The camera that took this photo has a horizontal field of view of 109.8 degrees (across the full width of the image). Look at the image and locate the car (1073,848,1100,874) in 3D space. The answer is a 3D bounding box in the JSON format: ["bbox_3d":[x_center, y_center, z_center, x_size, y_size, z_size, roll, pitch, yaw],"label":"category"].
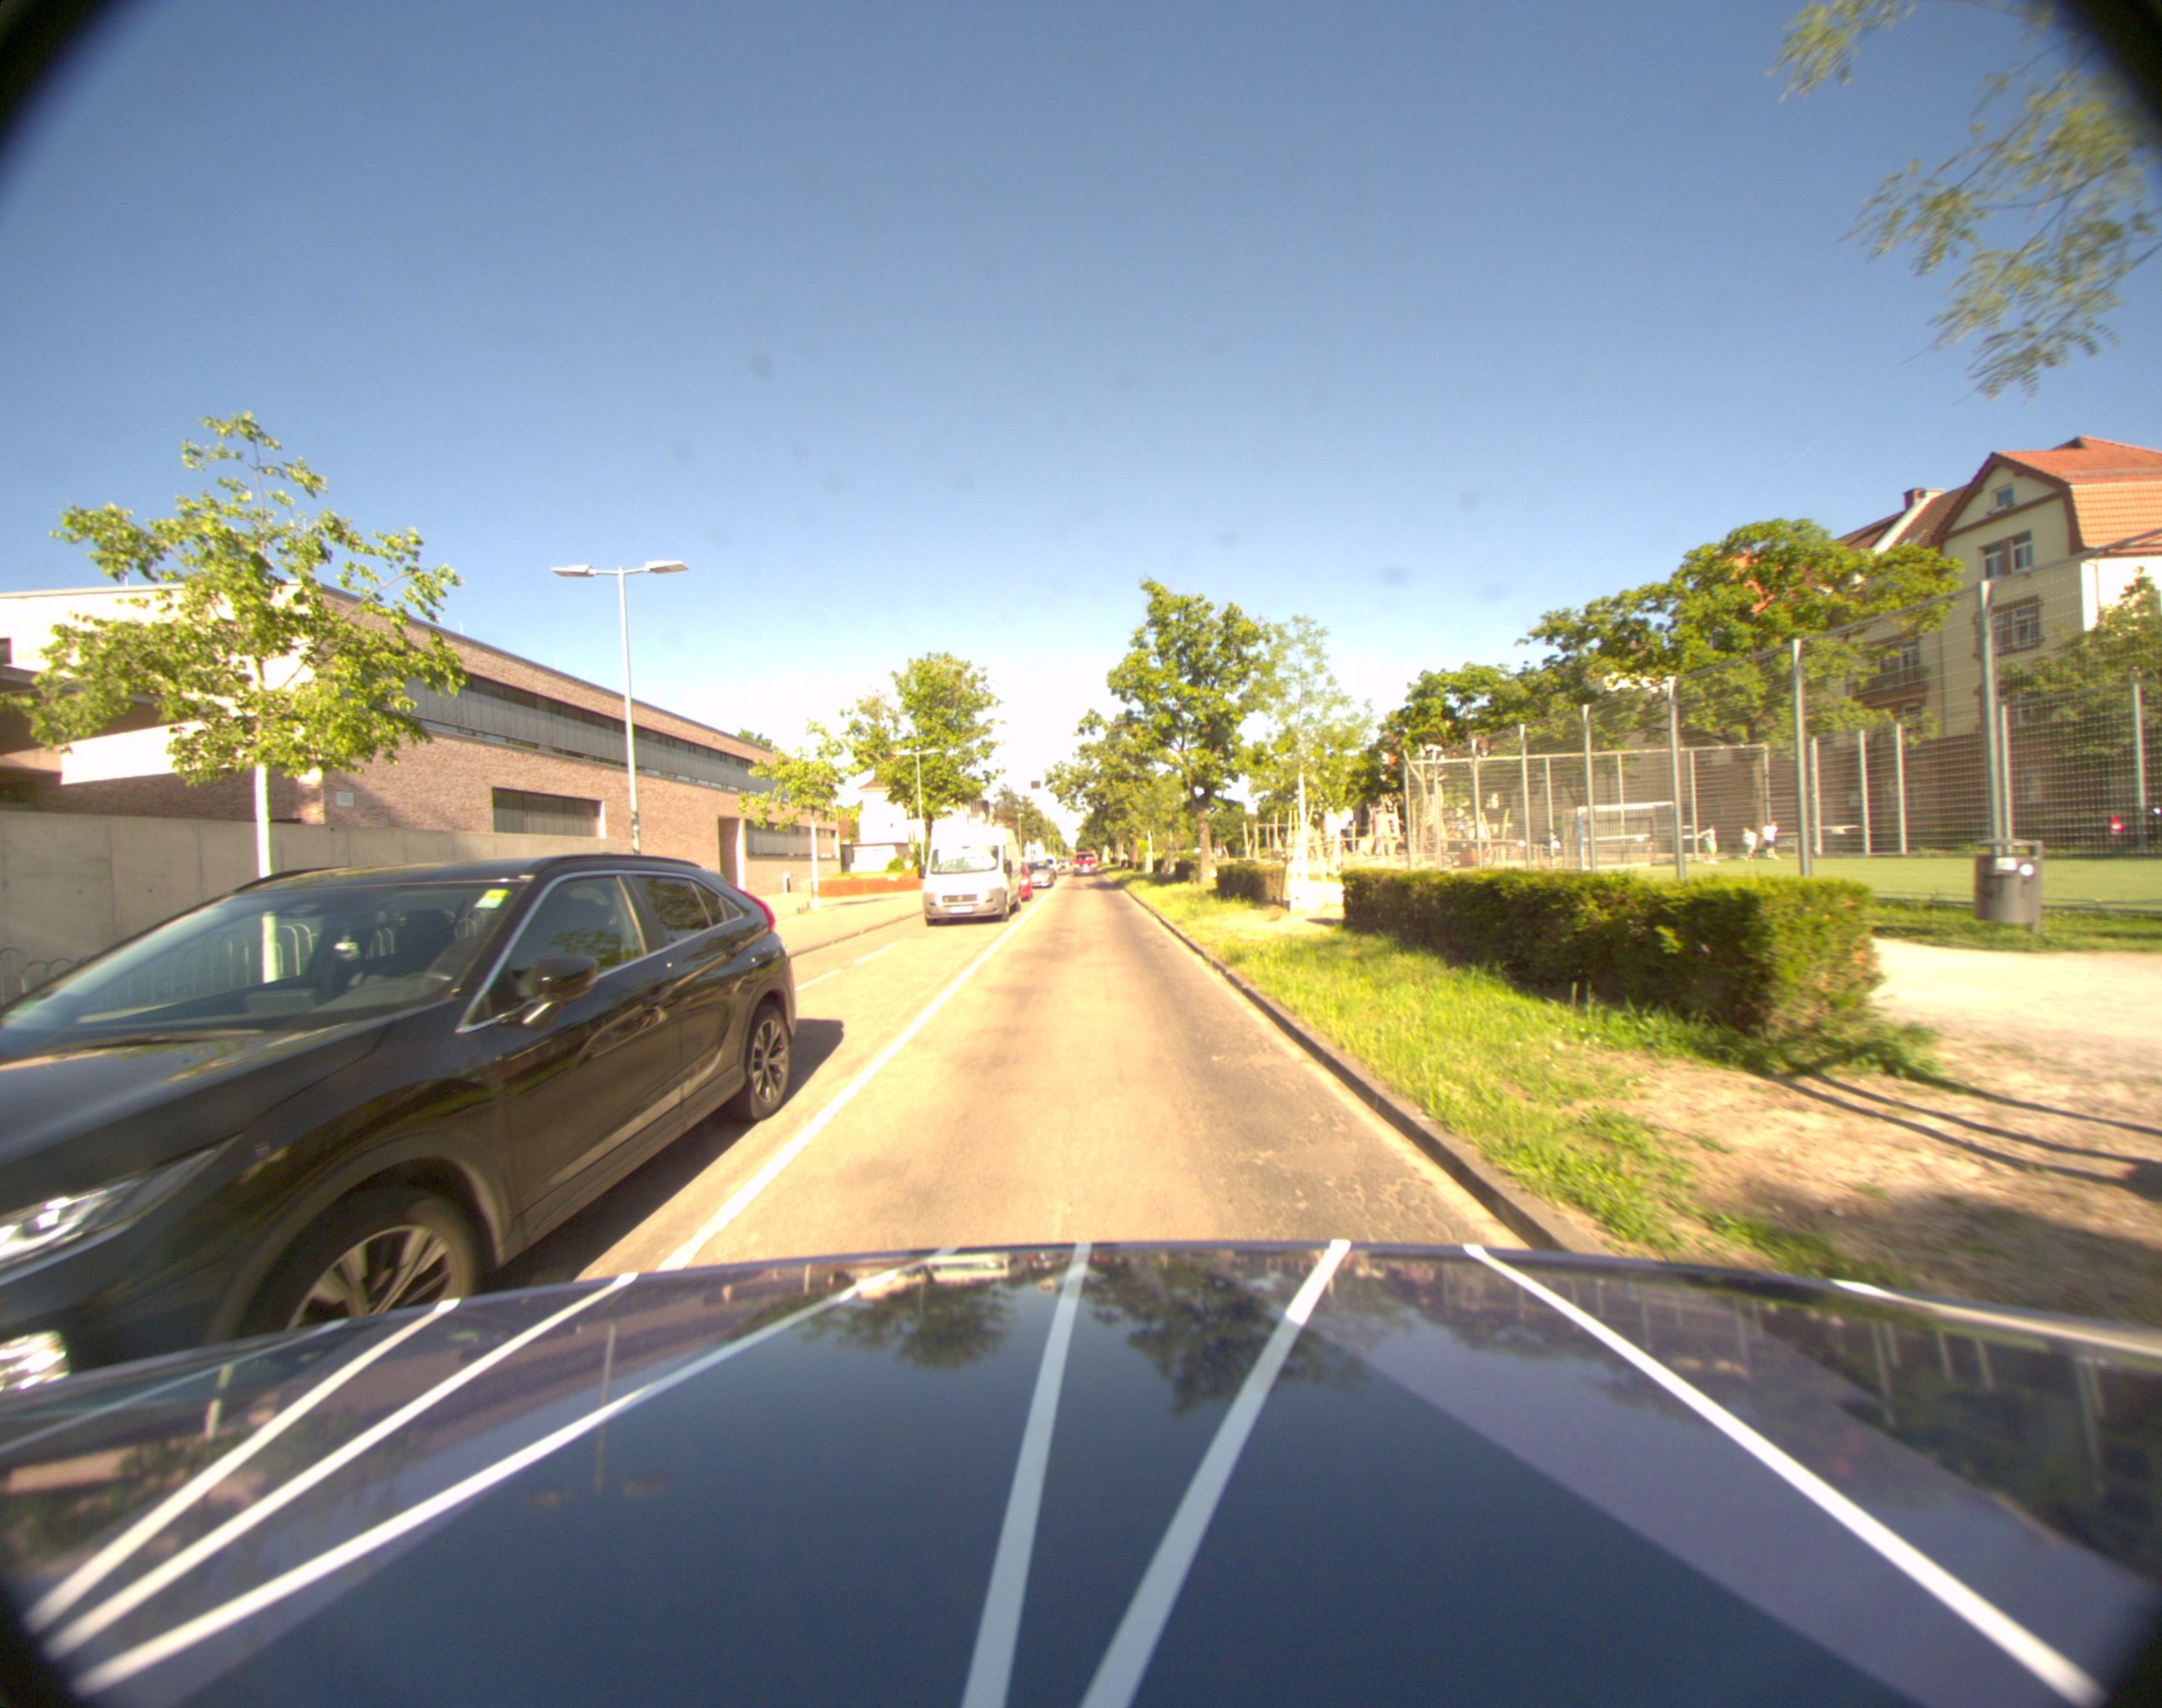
[{"bbox_3d":[0.484,0.551,63.524,2.092,2.000,4.844,-2,0,0],"label":"car"}]

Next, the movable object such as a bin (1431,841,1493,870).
[{"bbox_3d":[17.544,0.091,35.010,2.337,1.234,1.056,-2,0,-3],"label":"movable object such as a bin"}]

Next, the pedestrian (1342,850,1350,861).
[{"bbox_3d":[25.345,0.116,72.595,0.542,0.973,0.778,-3,0,8],"label":"pedestrian"}]

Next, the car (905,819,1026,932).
[{"bbox_3d":[-2.933,0.498,20.731,2.246,2.559,5.432,-3,0,1],"label":"car"}]

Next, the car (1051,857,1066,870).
[{"bbox_3d":[-2.934,1.246,98.550,1.664,1.456,4.410,-5,0,-4],"label":"car"}]

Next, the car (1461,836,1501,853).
[{"bbox_3d":[39.778,-0.878,75.672,1.799,1.545,4.000,-3,0,0],"label":"car"}]

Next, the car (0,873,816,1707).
[{"bbox_3d":[-2.834,0.999,3.108,1.851,1.630,4.503,-3,0,0],"label":"car"}]

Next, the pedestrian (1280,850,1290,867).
[{"bbox_3d":[16.790,0.351,62.596,0.649,1.321,0.651,-3,1,19],"label":"pedestrian"}]

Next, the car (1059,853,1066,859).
[{"bbox_3d":[-5.613,0.526,227.841,1.799,1.529,4.001,-3,-1,0],"label":"car"}]

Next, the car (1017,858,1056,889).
[{"bbox_3d":[-2.319,0.993,40.640,1.705,1.470,4.173,-3,0,1],"label":"car"}]

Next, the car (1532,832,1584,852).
[{"bbox_3d":[39.621,-0.978,63.219,1.799,1.501,4.000,-3,0,1],"label":"car"}]

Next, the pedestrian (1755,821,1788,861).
[{"bbox_3d":[23.141,-0.439,25.457,0.648,1.310,0.651,-3,1,30],"label":"pedestrian"}]

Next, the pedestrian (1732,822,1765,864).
[{"bbox_3d":[21.792,-0.358,24.812,0.648,1.310,0.651,-3,1,30],"label":"pedestrian"}]

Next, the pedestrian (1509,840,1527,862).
[{"bbox_3d":[27.087,-0.188,47.095,0.650,1.310,0.650,-3,0,-3],"label":"pedestrian"}]

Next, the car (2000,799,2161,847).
[{"bbox_3d":[35.545,-1.062,26.617,1.799,1.501,4.000,-3,0,1],"label":"car"}]

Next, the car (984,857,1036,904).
[{"bbox_3d":[-2.595,0.944,28.566,1.624,1.579,3.591,-3,0,-2],"label":"car"}]

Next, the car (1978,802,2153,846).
[{"bbox_3d":[39.356,-1.163,30.544,1.799,1.501,4.000,-3,0,1],"label":"car"}]

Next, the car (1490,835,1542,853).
[{"bbox_3d":[40.042,-0.921,70.060,1.911,1.501,4.764,-3,0,-1],"label":"car"}]

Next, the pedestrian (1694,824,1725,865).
[{"bbox_3d":[20.889,-0.326,25.247,0.648,1.310,0.651,-3,1,30],"label":"pedestrian"}]

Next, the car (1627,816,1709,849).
[{"bbox_3d":[39.603,-1.424,51.455,1.799,1.971,4.835,-3,0,1],"label":"car"}]

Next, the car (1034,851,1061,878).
[{"bbox_3d":[-2.522,0.786,57.757,1.812,1.897,4.461,-4,0,-1],"label":"car"}]

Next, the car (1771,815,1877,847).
[{"bbox_3d":[39.895,-1.187,40.932,1.799,1.501,4.000,-3,0,1],"label":"car"}]

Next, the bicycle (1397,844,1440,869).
[{"bbox_3d":[16.259,0.111,36.575,1.799,1.101,0.500,-3,0,-1],"label":"bicycle"}]
